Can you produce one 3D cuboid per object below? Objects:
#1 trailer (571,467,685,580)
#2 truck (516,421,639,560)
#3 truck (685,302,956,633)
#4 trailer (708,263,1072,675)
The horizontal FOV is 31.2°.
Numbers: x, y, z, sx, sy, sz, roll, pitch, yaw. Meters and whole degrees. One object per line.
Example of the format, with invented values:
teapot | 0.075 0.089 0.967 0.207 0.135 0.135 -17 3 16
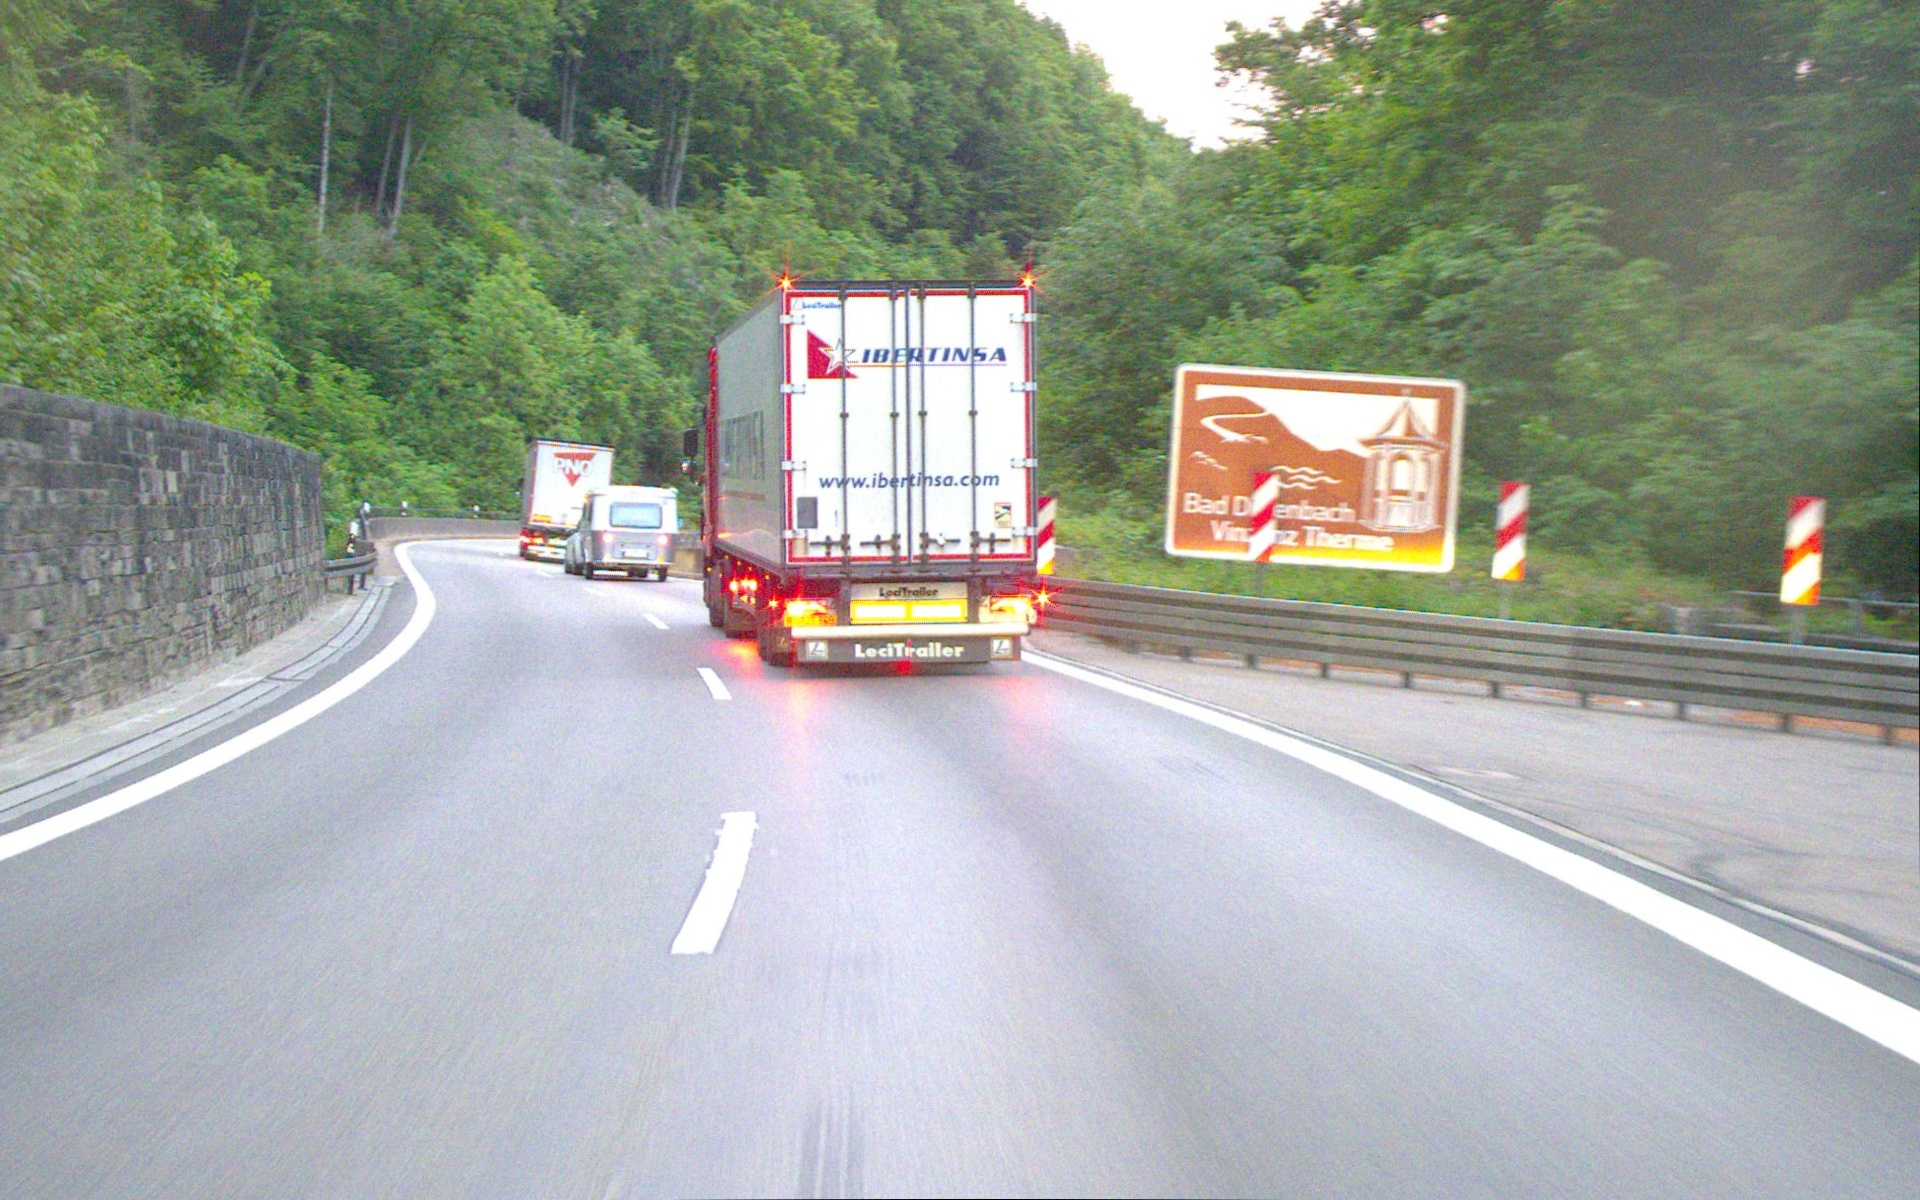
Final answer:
trailer | -8.100 -1.893 83.427 2.054 2.366 5.940 6 2 -10
truck | -13.005 -3.603 118.155 3.294 4.159 16.505 2 0 -4
truck | -2.033 -1.865 47.191 3.068 4.130 6.449 -2 3 -7
trailer | -1.186 -1.651 40.505 3.096 3.956 14.223 -1 3 -6
